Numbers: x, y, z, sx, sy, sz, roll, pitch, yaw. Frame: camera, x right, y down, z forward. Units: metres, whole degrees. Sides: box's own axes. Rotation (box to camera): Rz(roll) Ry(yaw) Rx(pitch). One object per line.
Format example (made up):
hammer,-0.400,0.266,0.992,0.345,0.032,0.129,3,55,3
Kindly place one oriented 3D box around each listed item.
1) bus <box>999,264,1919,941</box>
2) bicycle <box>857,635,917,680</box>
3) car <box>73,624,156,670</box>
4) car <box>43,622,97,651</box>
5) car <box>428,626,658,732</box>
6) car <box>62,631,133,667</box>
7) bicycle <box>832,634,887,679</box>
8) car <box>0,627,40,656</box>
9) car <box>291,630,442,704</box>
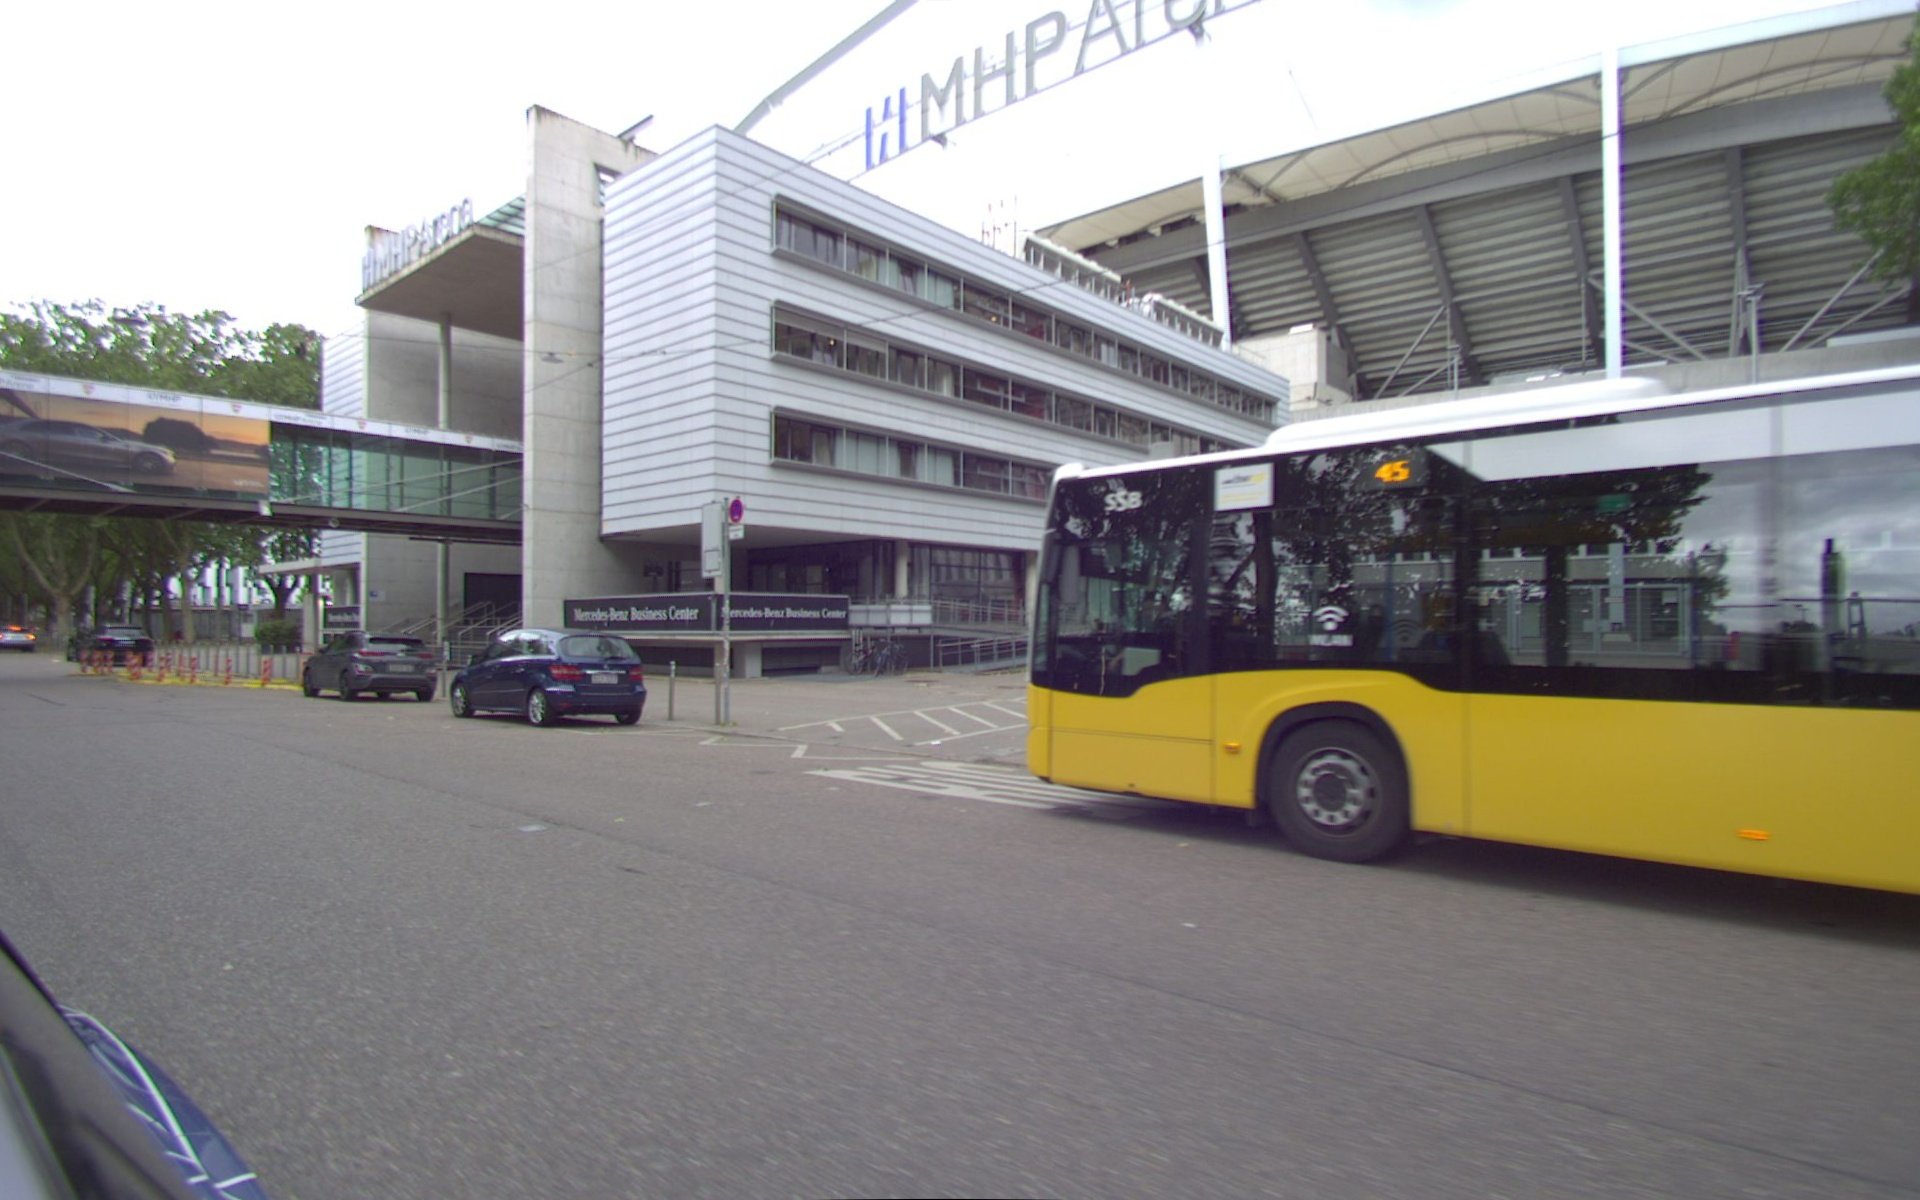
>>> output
bus,5.783,0.064,5.347,12.368,3.179,2.622,-1,-4,43
bicycle,-2.068,1.613,28.742,0.568,1.196,1.894,-1,0,38
car,-35.138,1.946,42.047,4.231,1.744,1.904,-1,-5,41
car,-49.169,1.994,55.881,3.801,1.480,1.640,-1,-5,41
car,-7.237,1.307,17.375,4.384,1.578,1.736,-1,-6,40
car,-38.866,2.206,45.585,4.143,1.480,1.758,-1,-5,41
bicycle,-2.891,1.625,29.325,0.470,1.196,1.808,-1,0,38
car,-56.905,2.466,60.977,3.998,1.674,1.735,-1,0,41
car,-13.629,1.500,23.168,4.007,1.525,1.735,-1,-5,41
